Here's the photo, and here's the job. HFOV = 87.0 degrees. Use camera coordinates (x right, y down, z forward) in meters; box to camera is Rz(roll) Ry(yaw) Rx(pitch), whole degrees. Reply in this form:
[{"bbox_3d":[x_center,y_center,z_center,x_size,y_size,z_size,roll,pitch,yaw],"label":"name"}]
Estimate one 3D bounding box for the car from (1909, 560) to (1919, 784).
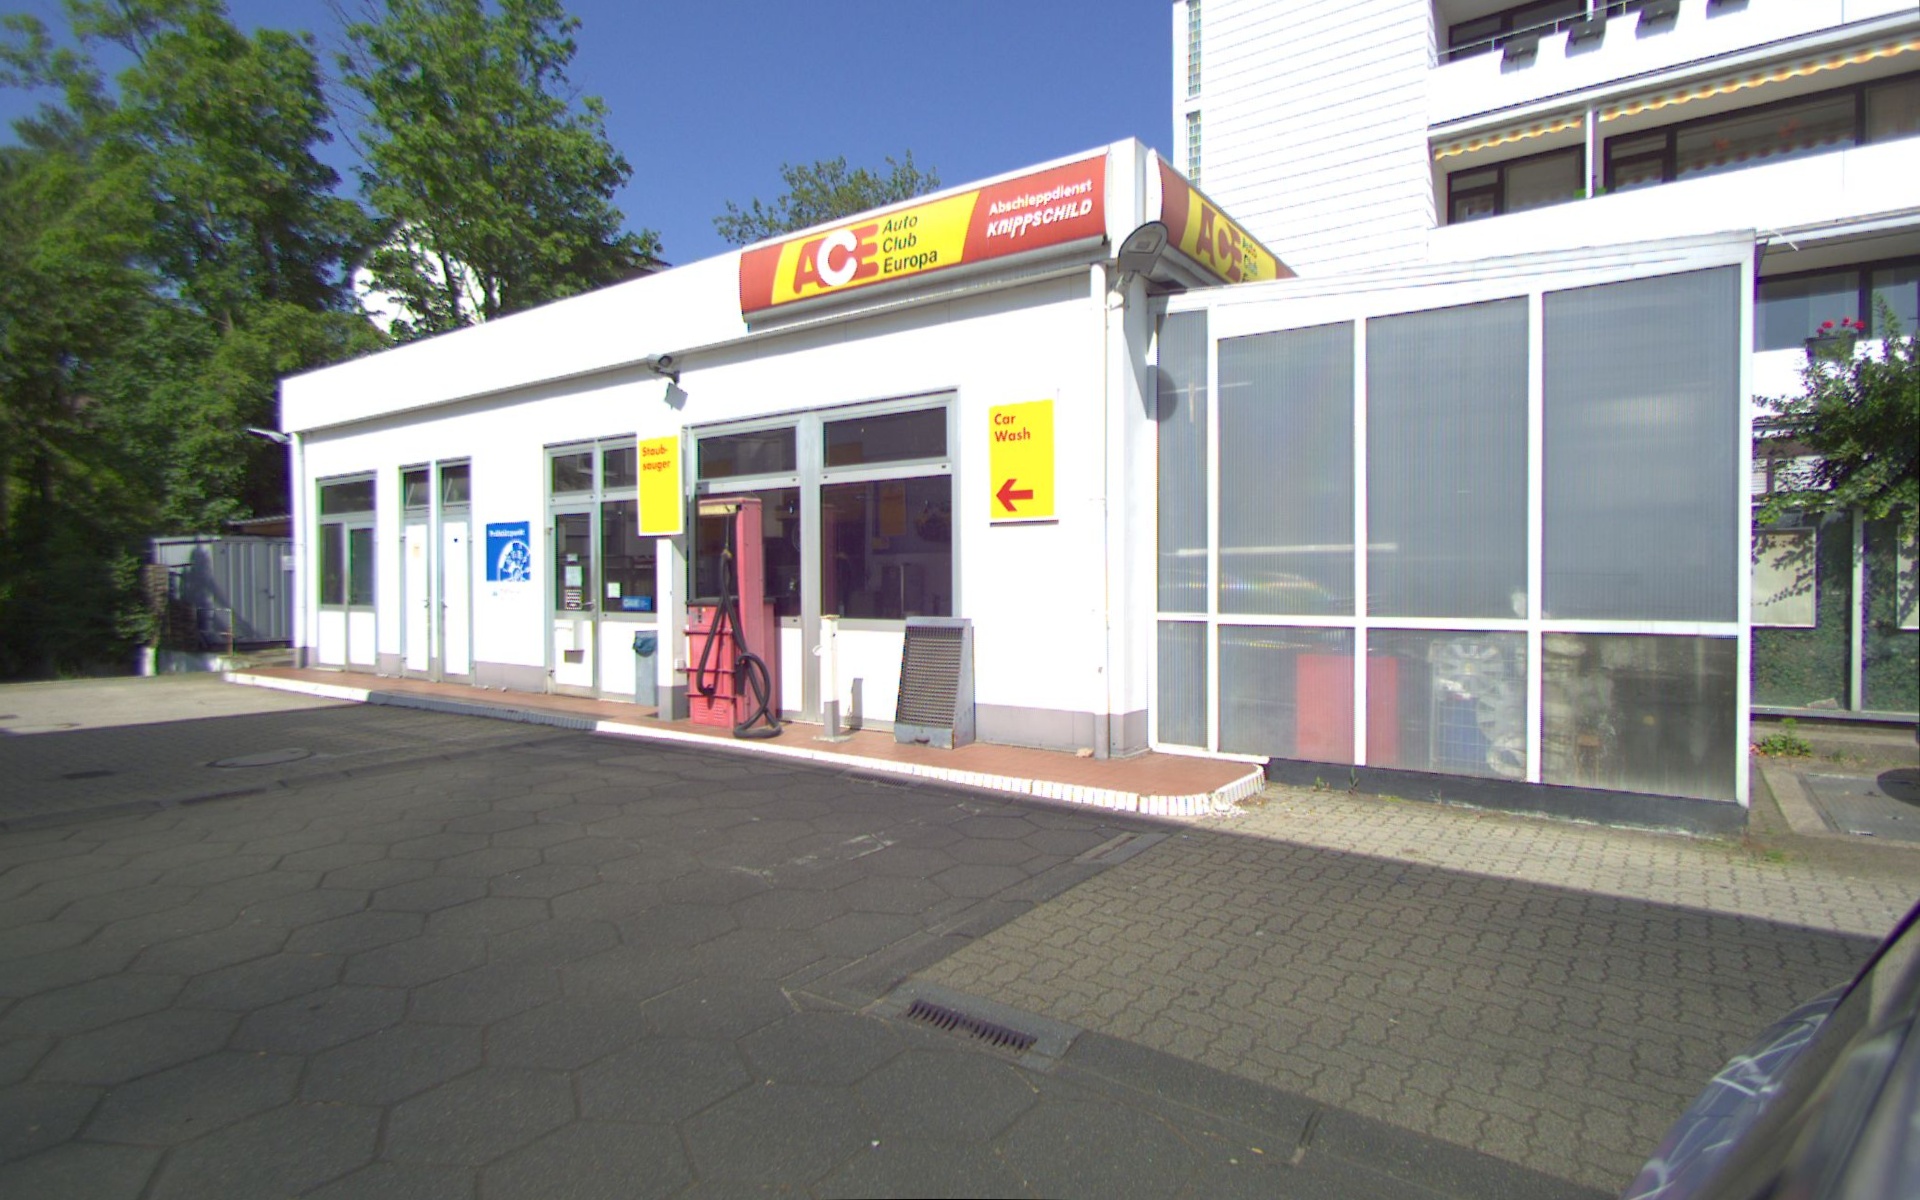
[{"bbox_3d":[8.064,0.511,5.796,3.642,1.637,1.669,-1,0,38],"label":"car"}]
